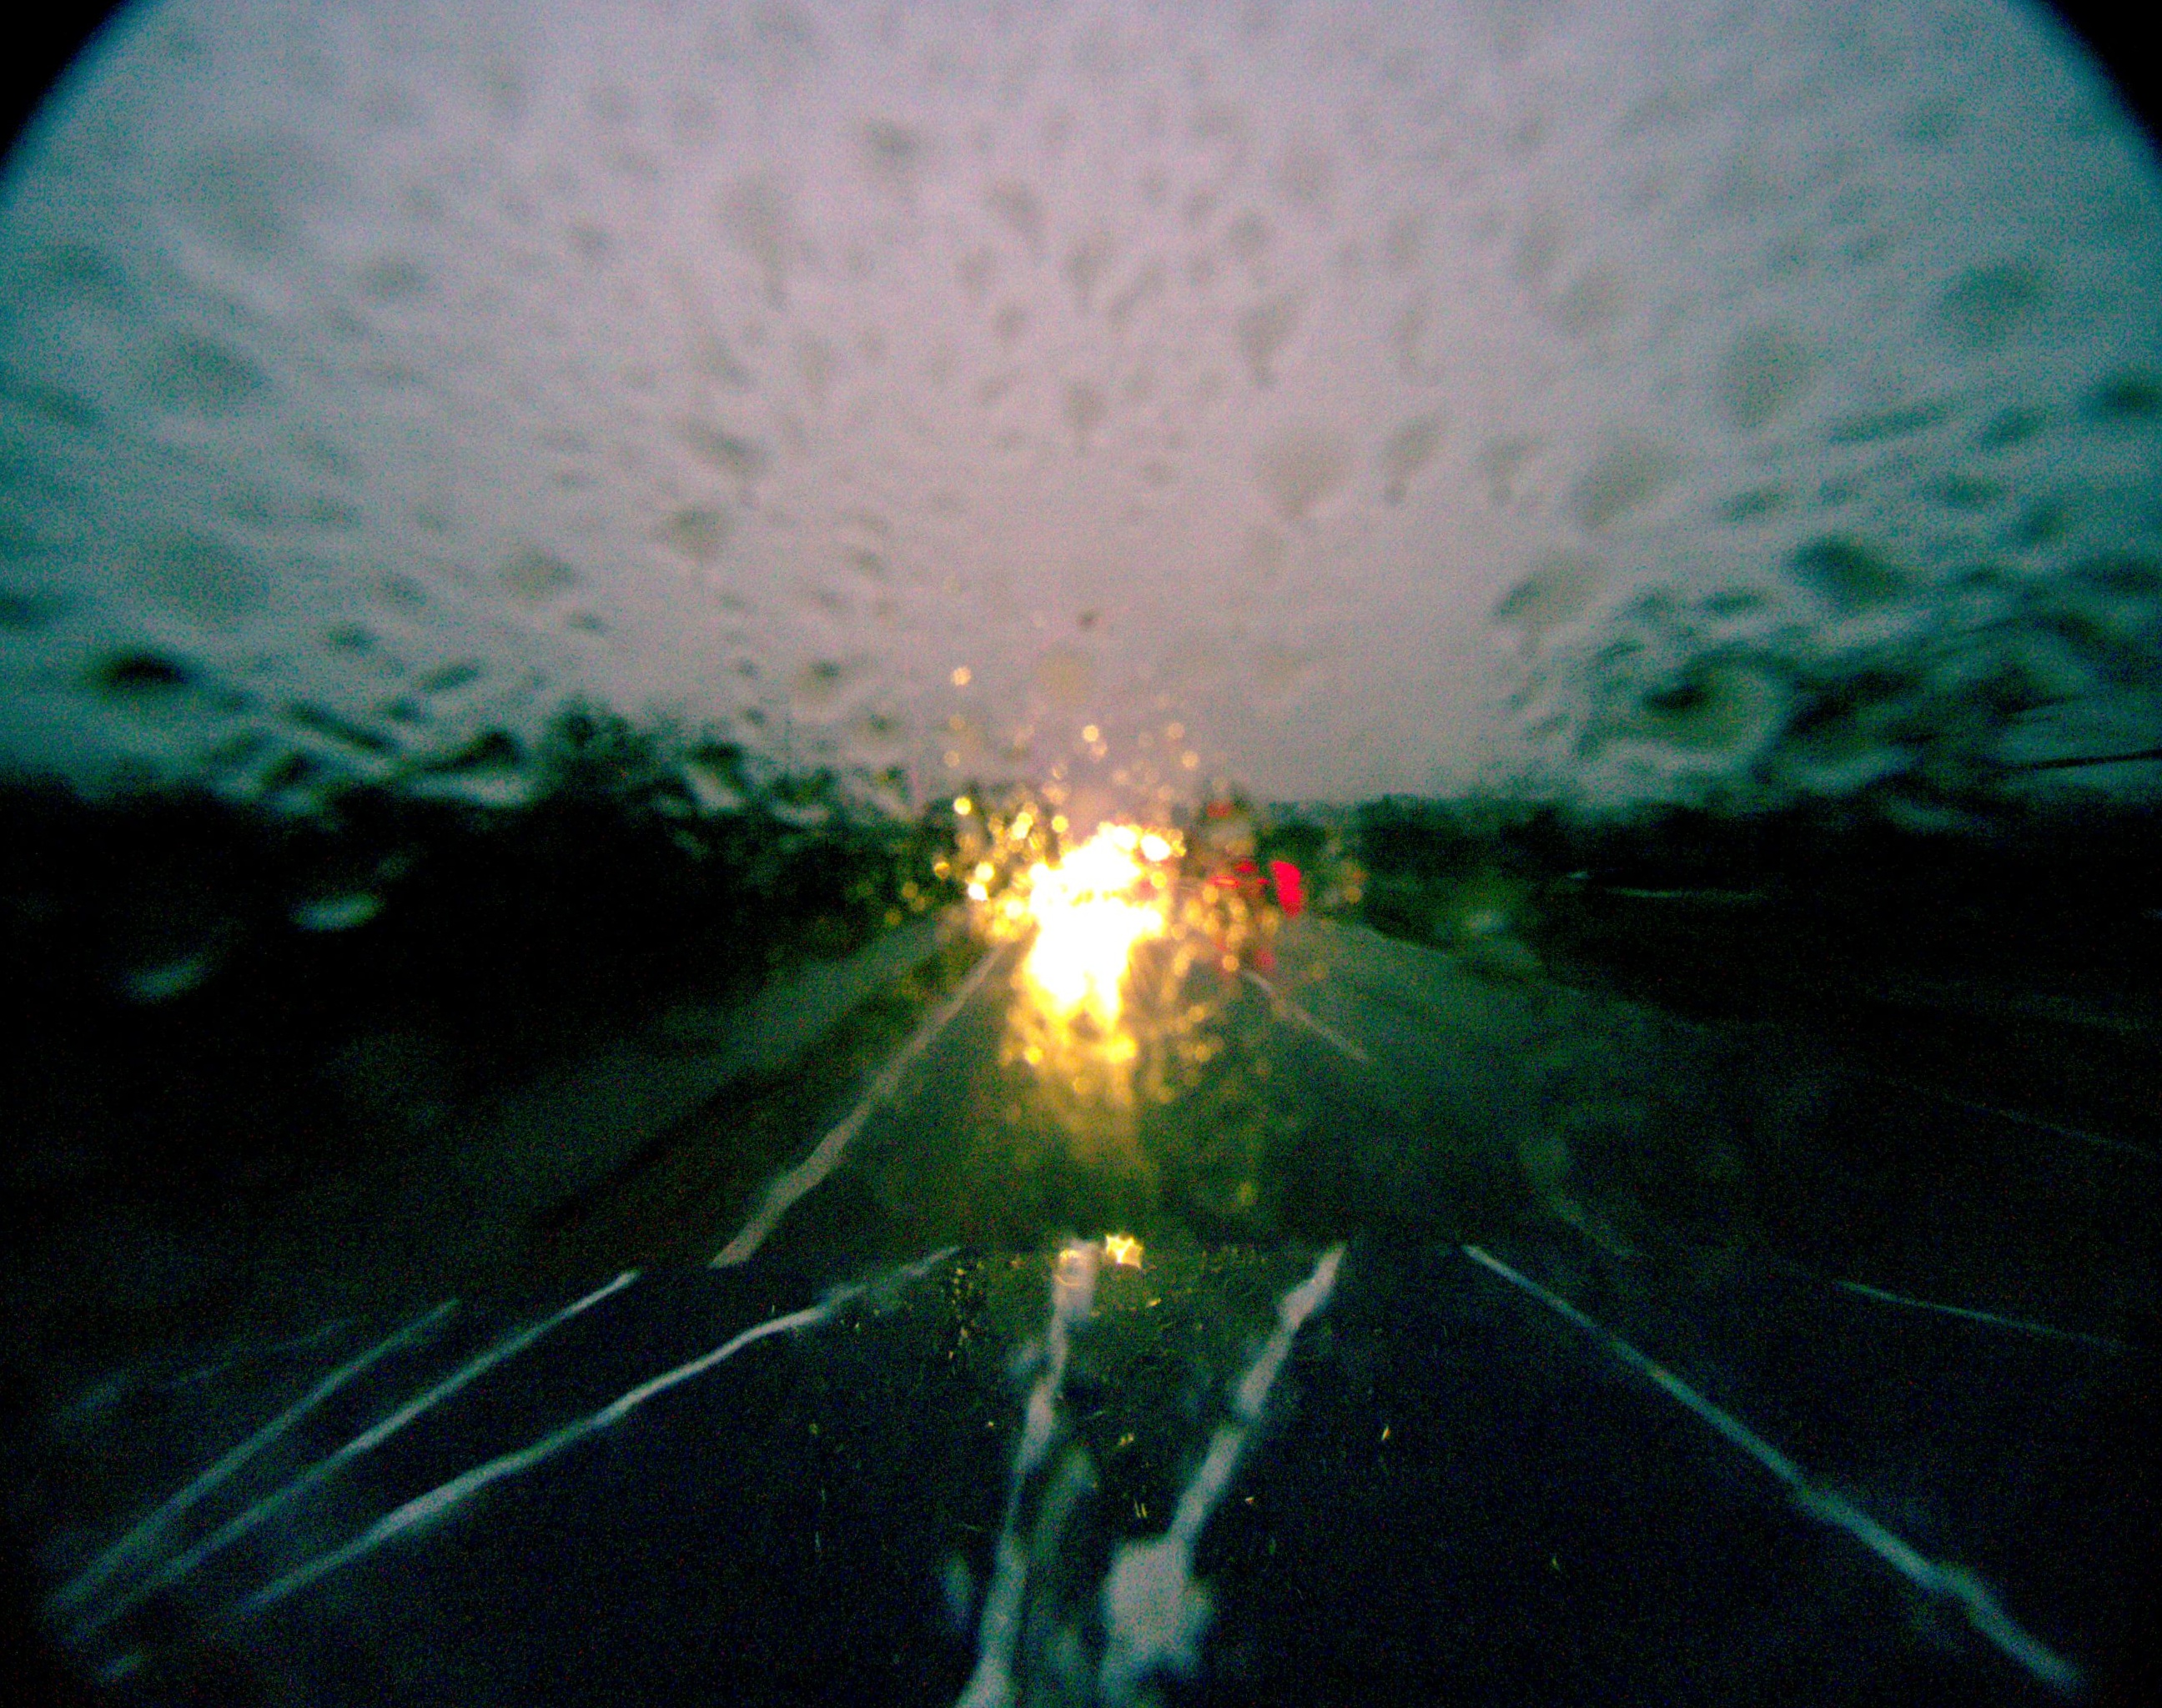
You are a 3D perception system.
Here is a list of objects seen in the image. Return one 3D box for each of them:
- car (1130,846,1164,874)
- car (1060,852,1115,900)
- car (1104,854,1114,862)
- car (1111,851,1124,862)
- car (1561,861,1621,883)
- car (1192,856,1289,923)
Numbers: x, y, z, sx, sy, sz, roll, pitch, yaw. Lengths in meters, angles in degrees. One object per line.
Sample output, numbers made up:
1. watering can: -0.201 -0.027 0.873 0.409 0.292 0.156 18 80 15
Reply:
1. car: 4.461 0.380 51.872 1.829 1.796 4.493 1 0 0
2. car: 0.246 0.735 27.662 1.860 1.604 4.000 -1 0 1
3. car: 5.691 0.848 155.697 1.860 1.508 4.515 1 0 -2
4. car: 5.314 0.404 110.903 1.766 1.546 4.000 1 0 1
5. car: 35.730 1.260 53.244 3.453 1.334 1.597 -2 1 -13
6. car: 3.893 0.809 19.109 1.692 1.471 3.773 0 0 1
